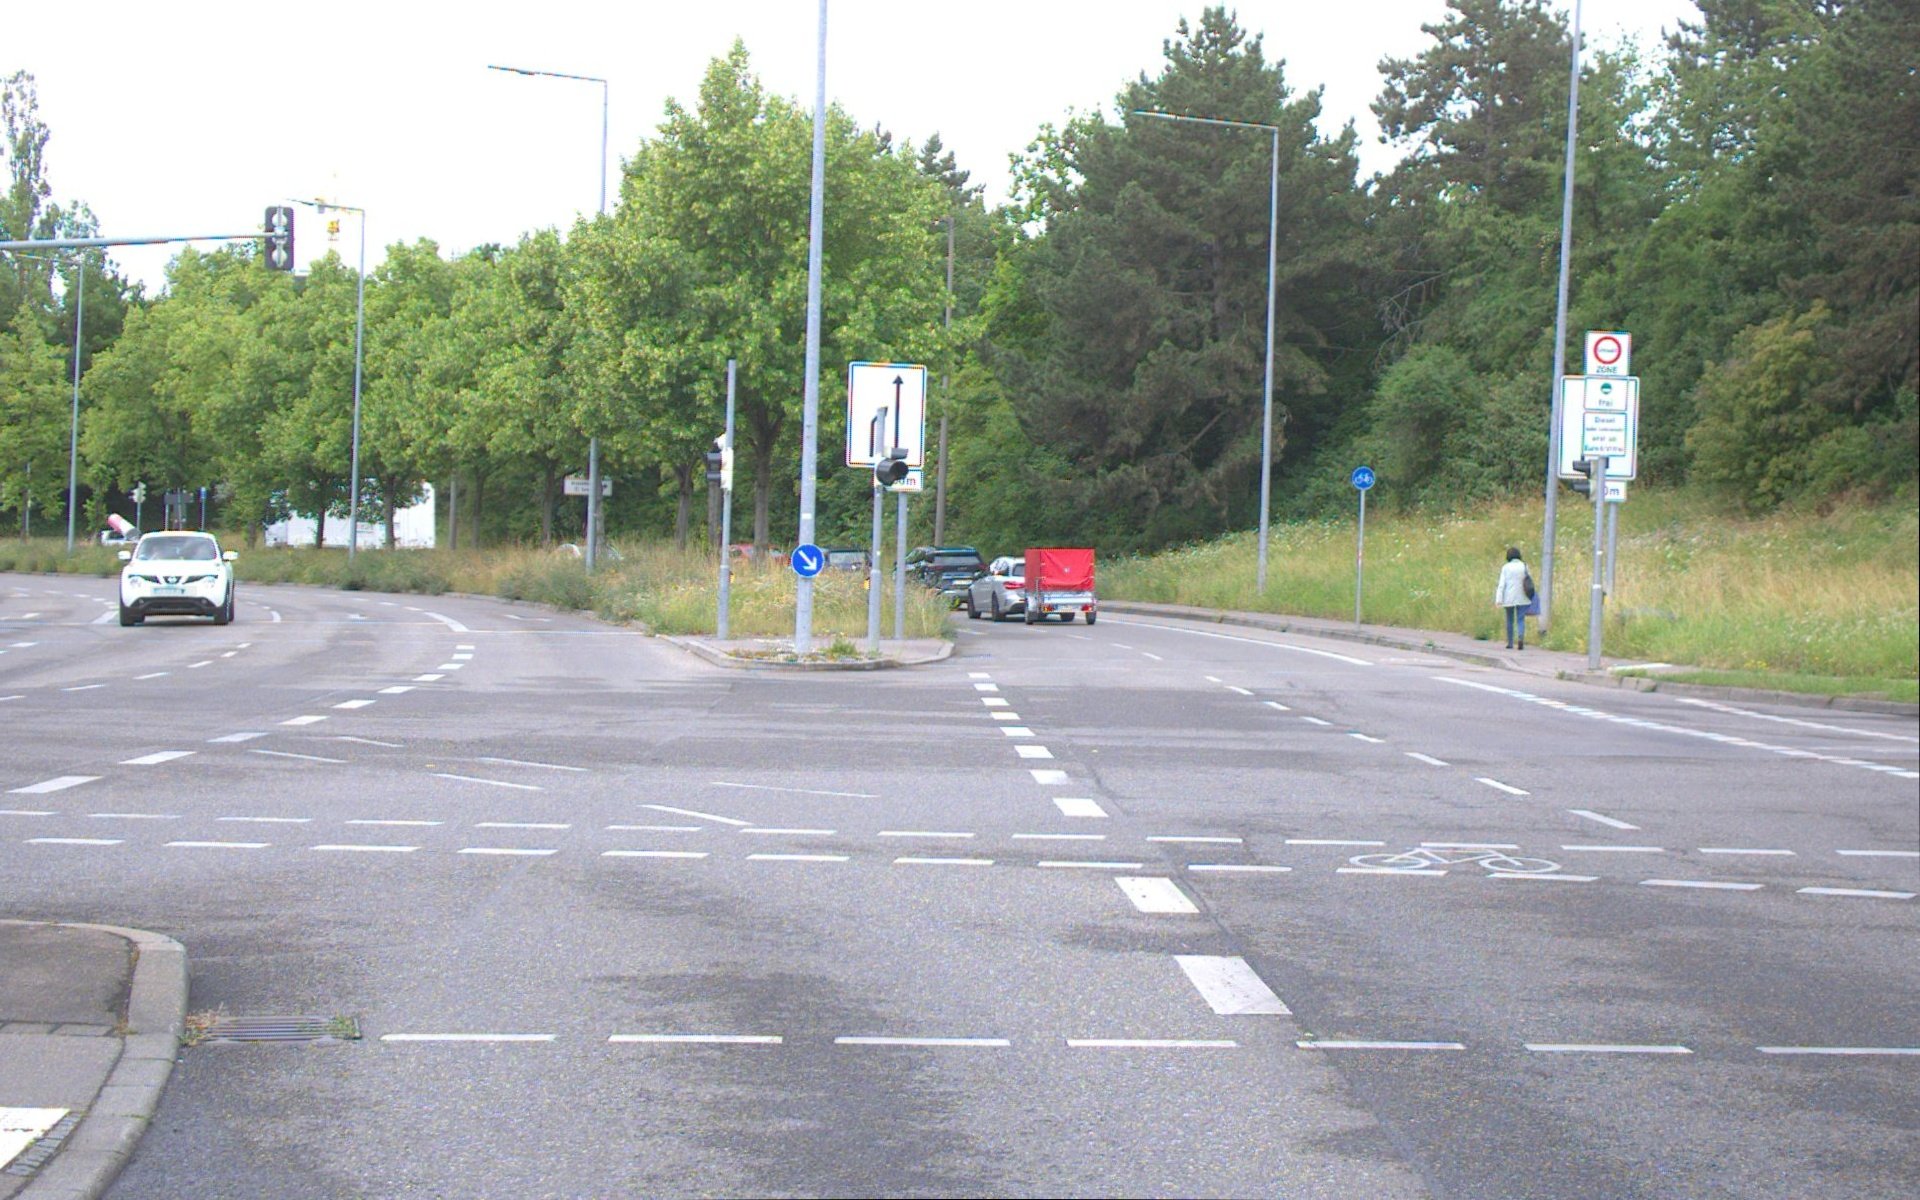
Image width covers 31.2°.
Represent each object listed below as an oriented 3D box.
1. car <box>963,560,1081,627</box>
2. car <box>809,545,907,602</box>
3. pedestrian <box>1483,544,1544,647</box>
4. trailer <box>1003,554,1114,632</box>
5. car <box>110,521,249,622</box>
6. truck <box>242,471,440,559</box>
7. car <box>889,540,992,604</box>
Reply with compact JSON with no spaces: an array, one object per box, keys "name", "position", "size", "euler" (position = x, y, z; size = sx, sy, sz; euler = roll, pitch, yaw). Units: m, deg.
[{"name":"car","position":[1.377,-0.164,78.100],"size":[1.777,1.416,4.460],"euler":[1,1,-11]},{"name":"car","position":[-2.923,-0.762,97.570],"size":[1.777,1.541,4.026],"euler":[0,1,-17]},{"name":"pedestrian","position":[8.810,-0.078,54.757],"size":[0.814,1.622,0.791],"euler":[1,1,-1]},{"name":"trailer","position":[2.104,-0.169,74.423],"size":[1.764,1.610,3.045],"euler":[1,1,-11]},{"name":"car","position":[-13.141,-0.506,58.062],"size":[1.828,1.623,4.427],"euler":[0,1,-7]},{"name":"truck","position":[-24.318,-3.343,134.426],"size":[2.740,3.317,11.404],"euler":[0,2,-37]},{"name":"car","position":[-0.523,-0.727,87.651],"size":[1.777,1.541,4.026],"euler":[0,1,-12]}]
